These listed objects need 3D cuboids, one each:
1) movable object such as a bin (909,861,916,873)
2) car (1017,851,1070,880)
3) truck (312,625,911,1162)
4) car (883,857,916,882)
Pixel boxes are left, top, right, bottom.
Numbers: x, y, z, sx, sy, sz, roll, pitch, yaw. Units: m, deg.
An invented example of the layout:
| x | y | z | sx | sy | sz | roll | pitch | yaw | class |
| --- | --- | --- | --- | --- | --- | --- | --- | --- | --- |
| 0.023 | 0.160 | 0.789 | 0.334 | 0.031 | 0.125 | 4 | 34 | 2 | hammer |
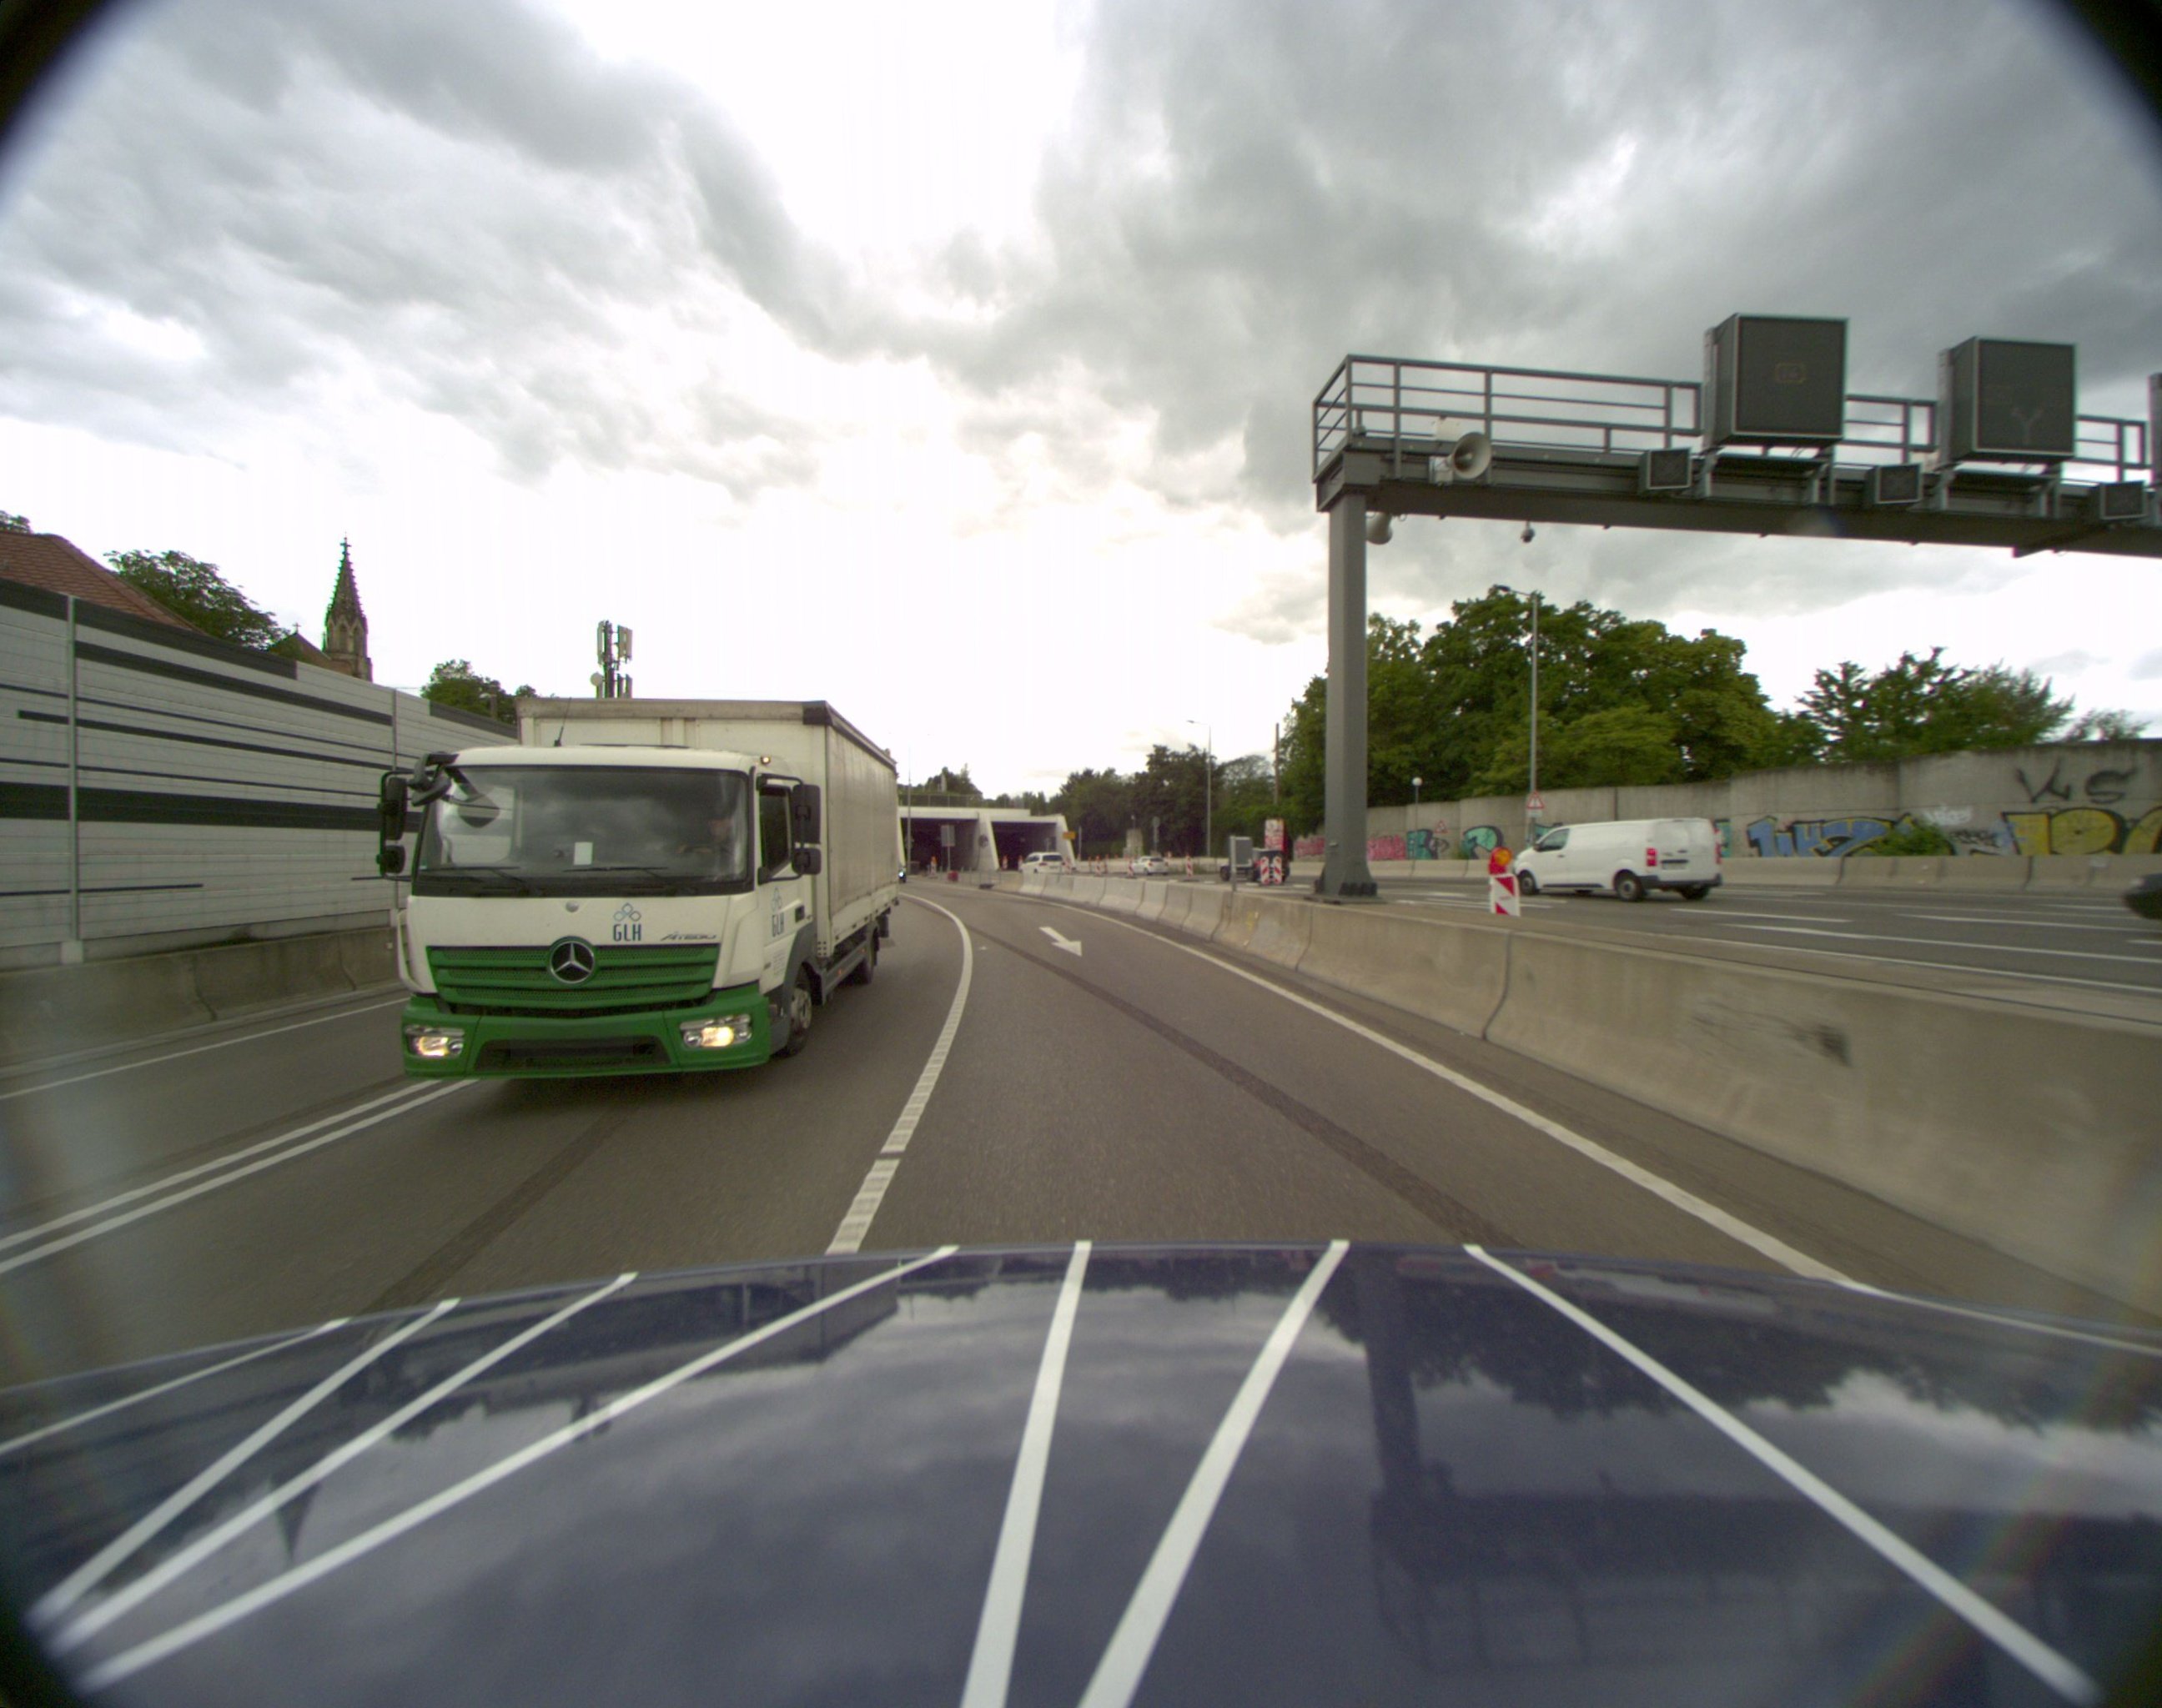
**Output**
| x | y | z | sx | sy | sz | roll | pitch | yaw | class |
| --- | --- | --- | --- | --- | --- | --- | --- | --- | --- |
| -13.776 | 1.067 | 62.122 | 0.490 | 1.011 | 0.422 | -2 | 2 | -28 | movable object such as a bin |
| -2.556 | 0.718 | 50.087 | 1.958 | 1.740 | 5.265 | -1 | 1 | -20 | car |
| -3.662 | 0.224 | 8.382 | 2.638 | 3.220 | 7.411 | 0 | 0 | -6 | truck |
| -11.583 | 0.944 | 48.318 | 1.724 | 1.455 | 3.993 | 0 | 0 | -19 | car |
